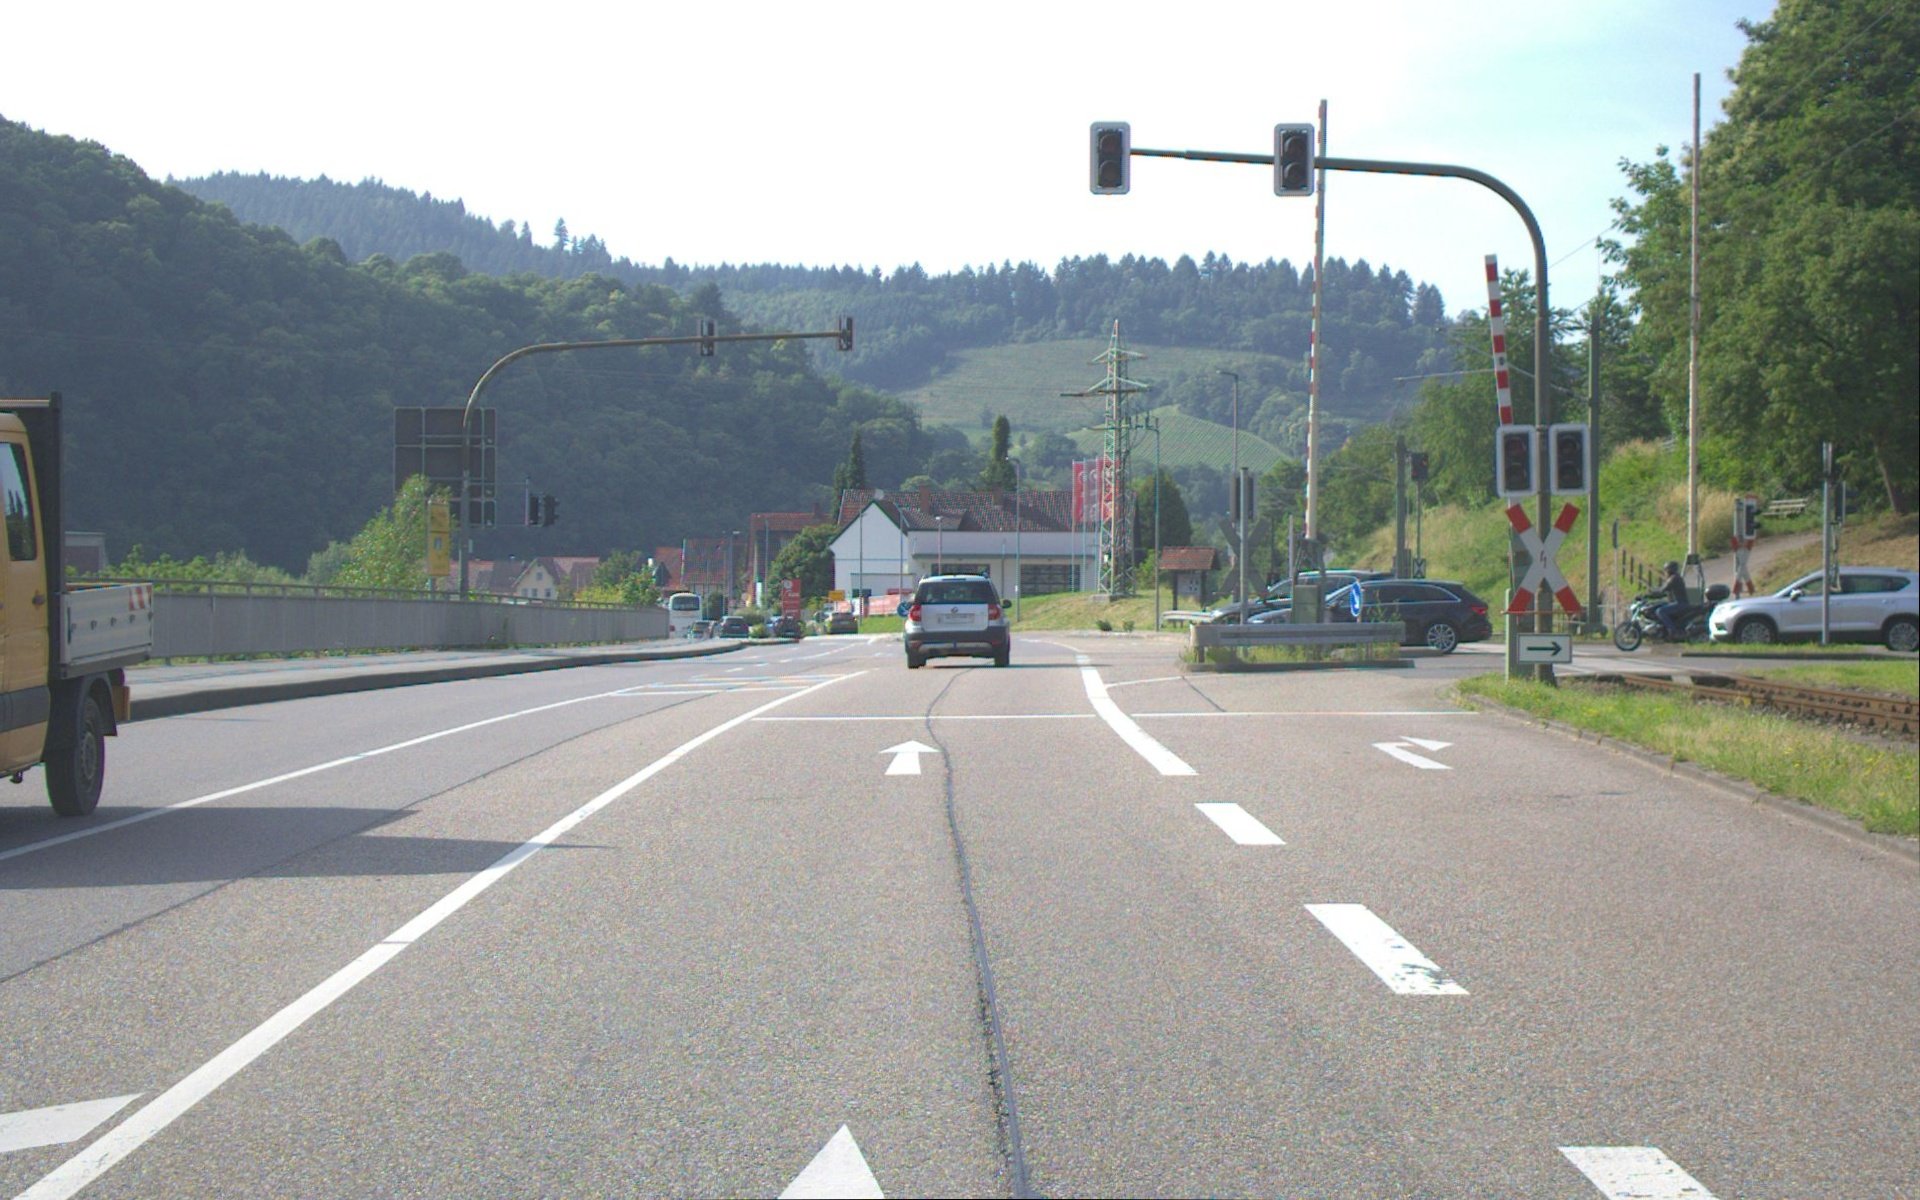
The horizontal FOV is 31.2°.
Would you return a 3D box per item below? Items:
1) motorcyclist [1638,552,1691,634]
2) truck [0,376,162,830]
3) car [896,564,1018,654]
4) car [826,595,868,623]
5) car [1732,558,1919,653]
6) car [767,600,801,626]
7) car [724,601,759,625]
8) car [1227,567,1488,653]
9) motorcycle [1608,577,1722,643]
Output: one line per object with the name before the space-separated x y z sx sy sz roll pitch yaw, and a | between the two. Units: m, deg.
motorcyclist | 13.808 -0.145 67.360 0.907 1.591 0.765 1 0 18
truck | -6.124 -0.003 18.907 2.164 2.379 5.854 1 0 -1
car | -0.015 0.194 61.663 1.861 1.539 4.372 1 -1 4
car | -6.000 0.495 182.700 1.453 1.430 2.936 1 0 -18
car | 16.312 0.097 63.128 4.115 1.681 1.834 1 0 14
car | -10.148 0.742 198.127 1.232 1.430 2.641 -2 1 -18
car | -13.796 0.811 216.925 1.453 1.430 2.936 1 0 -18
car | 7.380 0.191 64.170 4.727 1.465 1.841 -1 0 4
motorcycle | 13.813 0.192 67.363 2.095 1.250 0.798 1 0 19
